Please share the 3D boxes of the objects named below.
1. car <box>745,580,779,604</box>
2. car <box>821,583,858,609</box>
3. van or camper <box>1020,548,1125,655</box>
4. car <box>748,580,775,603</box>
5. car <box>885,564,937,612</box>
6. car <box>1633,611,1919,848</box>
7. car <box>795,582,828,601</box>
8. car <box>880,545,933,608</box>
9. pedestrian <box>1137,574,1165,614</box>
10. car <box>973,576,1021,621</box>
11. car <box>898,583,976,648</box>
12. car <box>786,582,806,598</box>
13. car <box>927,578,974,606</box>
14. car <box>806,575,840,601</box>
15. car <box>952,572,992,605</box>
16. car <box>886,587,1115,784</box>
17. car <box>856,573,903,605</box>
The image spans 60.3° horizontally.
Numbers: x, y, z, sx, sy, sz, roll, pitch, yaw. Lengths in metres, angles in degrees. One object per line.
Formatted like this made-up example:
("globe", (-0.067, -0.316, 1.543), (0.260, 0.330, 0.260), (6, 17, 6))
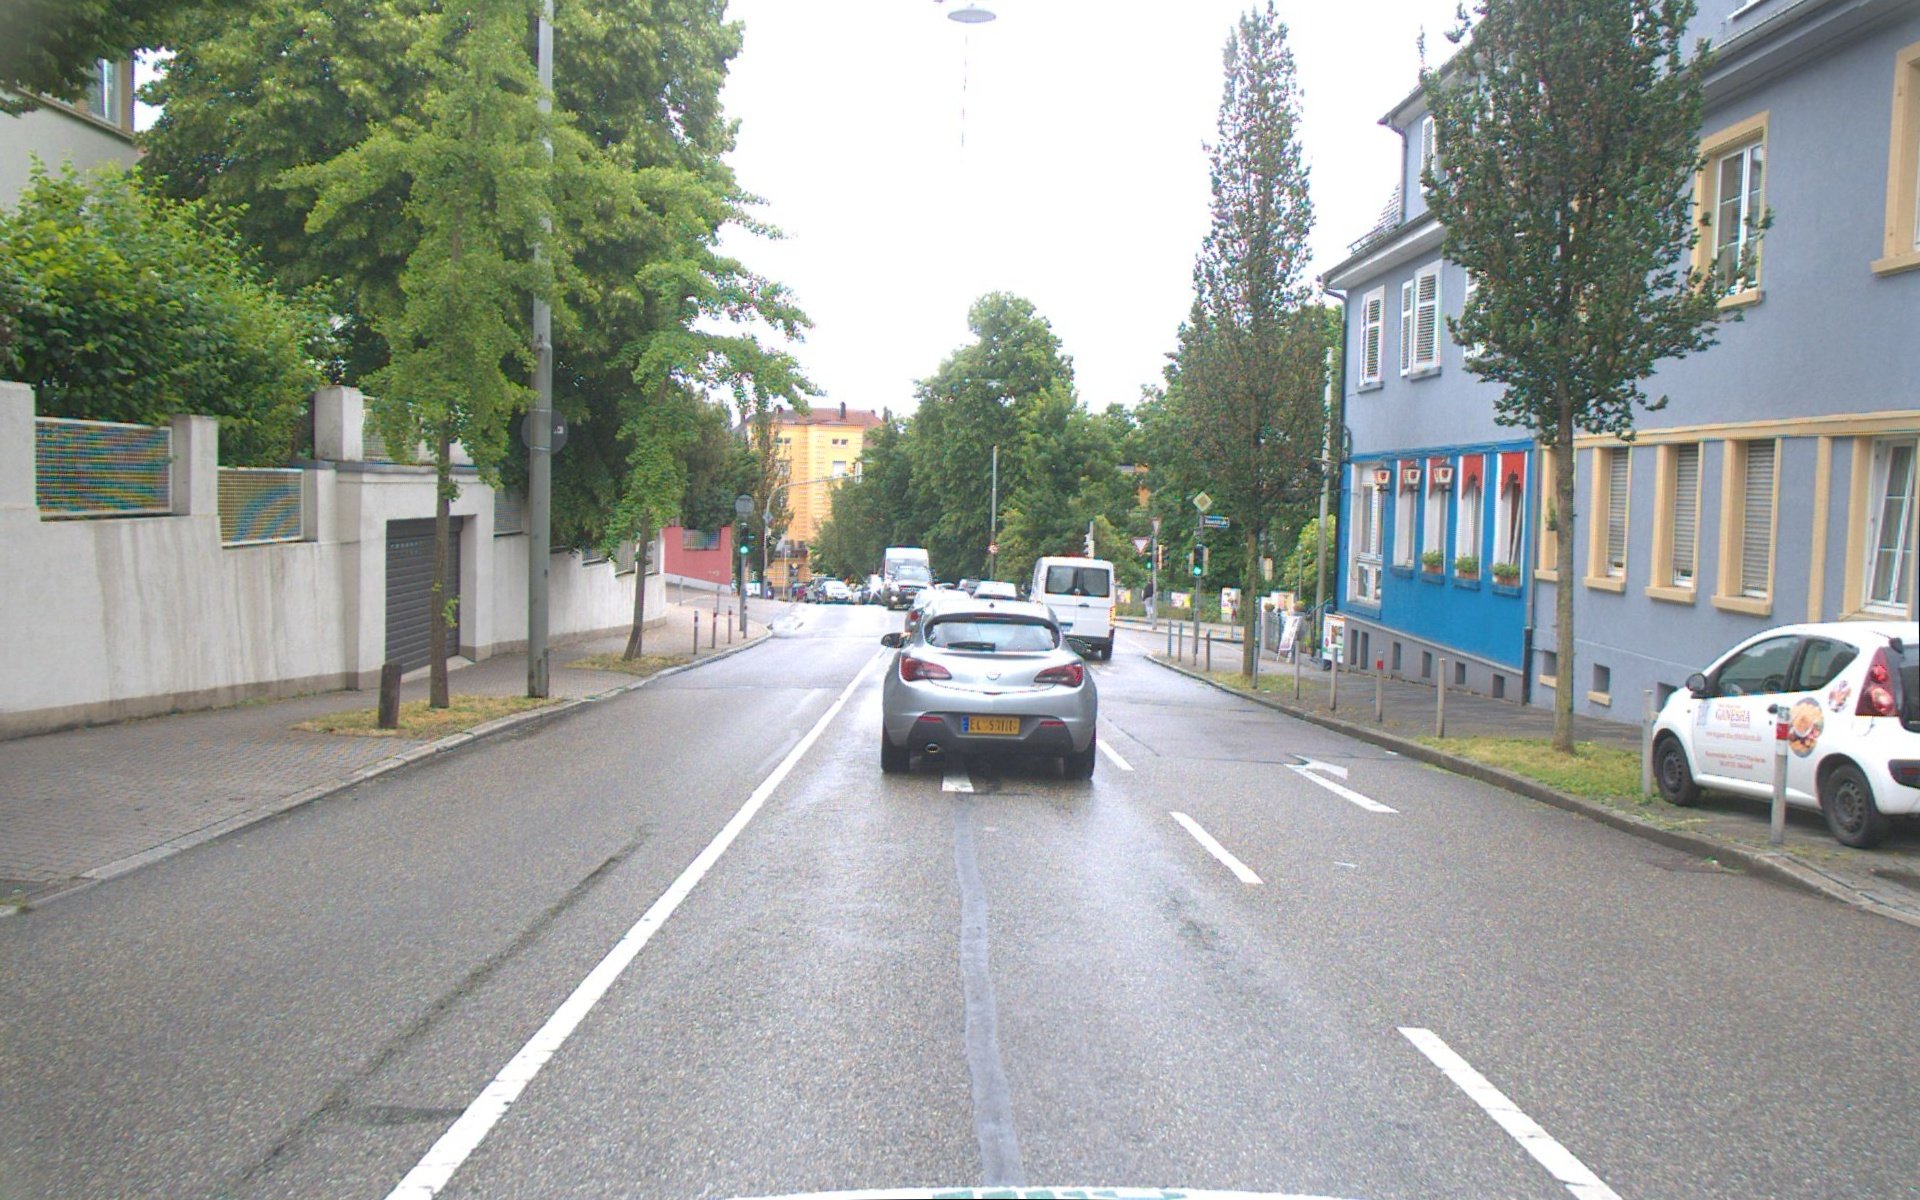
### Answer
("car", (-17.042, -0.679, 142.336), (1.964, 2.049, 3.976), (1, 0, -20))
("car", (-7.571, -0.234, 103.582), (1.742, 1.523, 4.250), (2, 0, -12))
("van or camper", (2.710, 0.026, 41.022), (2.061, 2.366, 5.416), (3, 0, -1))
("car", (-14.188, -0.617, 118.591), (1.817, 1.511, 5.361), (1, 2, -6))
("car", (-1.898, -0.482, 62.880), (1.785, 1.680, 4.344), (2, 1, -3))
("car", (6.568, 0.829, 12.245), (1.555, 1.436, 3.453), (0, 1, -5))
("car", (-12.756, -0.742, 141.924), (1.788, 1.493, 3.977), (-4, 1, -19))
("car", (-2.365, -0.997, 71.736), (2.075, 2.590, 5.535), (1, 0, -4))
("pedestrian", (8.014, -0.242, 69.338), (0.756, 1.633, 0.957), (-1, 0, -26))
("car", (1.206, -0.081, 54.916), (1.355, 1.436, 3.455), (0, 1, -2))
("car", (-0.537, 0.353, 38.862), (1.740, 1.455, 3.785), (0, 0, -1))
("car", (-15.761, -0.974, 159.083), (1.742, 1.454, 3.782), (2, 1, -5))
("car", (-0.609, -0.447, 100.644), (1.786, 1.521, 3.982), (-4, 1, -16))
("car", (-10.257, -0.884, 123.791), (1.753, 1.887, 3.981), (2, -1, -17))
("car", (0.548, -0.529, 78.755), (1.588, 1.512, 3.433), (1, 0, -4))
("car", (0.303, 0.666, 15.119), (1.778, 1.454, 4.000), (2, 1, -1))
("car", (-4.260, -0.590, 87.276), (1.841, 1.602, 4.574), (1, 0, -11))
